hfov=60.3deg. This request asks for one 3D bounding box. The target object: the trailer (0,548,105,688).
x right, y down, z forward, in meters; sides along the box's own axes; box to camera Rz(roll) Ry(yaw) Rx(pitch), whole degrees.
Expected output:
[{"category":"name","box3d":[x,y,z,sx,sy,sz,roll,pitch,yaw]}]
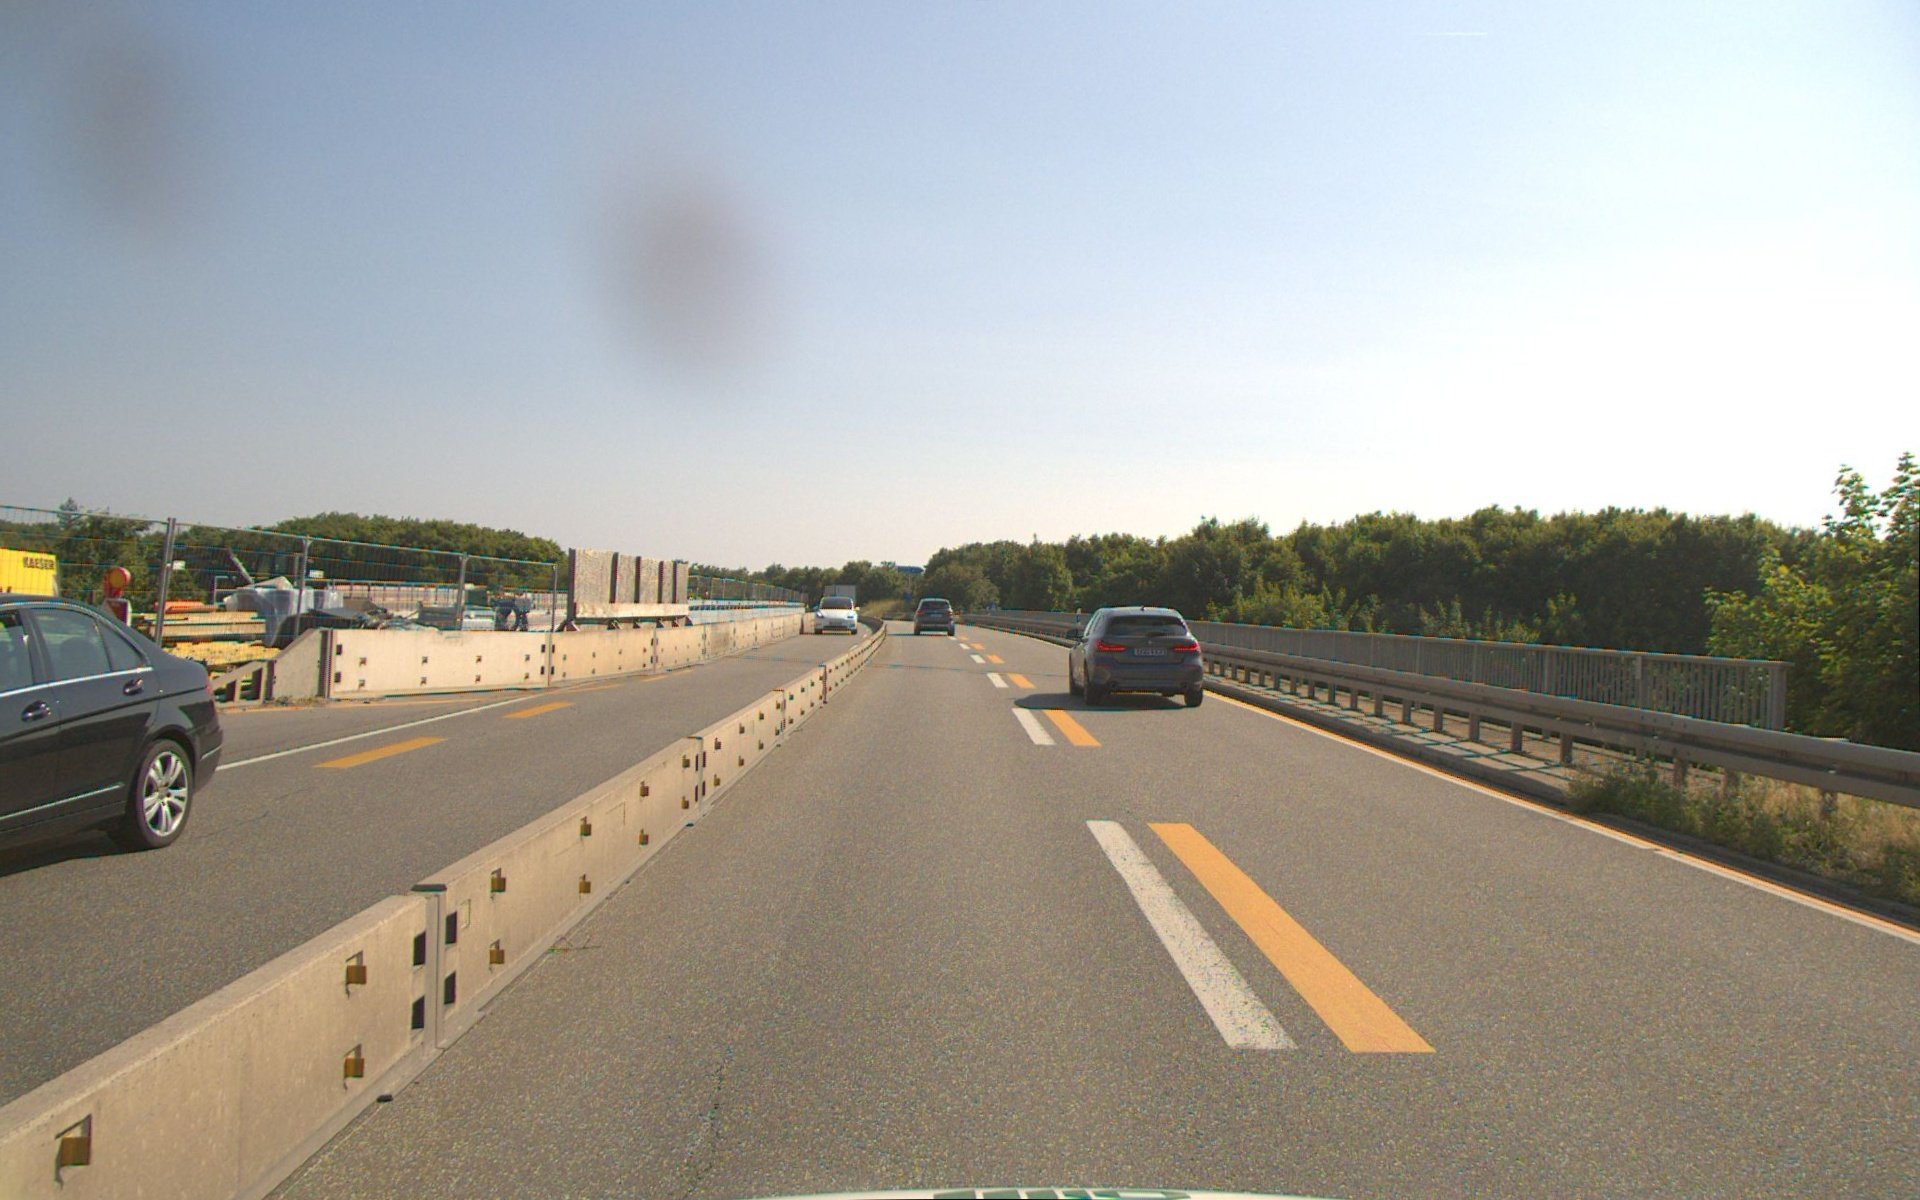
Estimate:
[{"category":"trailer","box3d":[-12.518,0.174,21.051,1.686,1.677,3.528,3,0,-7]}]

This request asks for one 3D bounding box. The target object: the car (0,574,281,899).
[{"category":"car","box3d":[-5.427,0.629,8.328,1.820,1.499,4.686,3,0,3]}]

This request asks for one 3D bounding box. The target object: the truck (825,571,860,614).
[{"category":"truck","box3d":[-14.567,-0.949,203.292,3.688,4.997,14.118,2,0,-6]}]

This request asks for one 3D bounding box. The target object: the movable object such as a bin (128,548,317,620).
[{"category":"movable object such as a bin","box3d":[-23.324,-0.504,52.347,5.280,2.153,2.238,1,0,18]}]

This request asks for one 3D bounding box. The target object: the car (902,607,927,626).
[{"category":"car","box3d":[-4.447,1.600,160.870,1.956,1.717,3.993,2,0,-8]}]

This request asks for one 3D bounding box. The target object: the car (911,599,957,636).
[{"category":"car","box3d":[-1.134,0.767,73.987,1.952,1.594,4.000,1,0,0]}]

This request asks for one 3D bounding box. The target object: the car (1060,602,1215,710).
[{"category":"car","box3d":[2.670,0.811,25.733,1.881,1.520,3.999,0,0,-2]}]

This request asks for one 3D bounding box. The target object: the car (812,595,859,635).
[{"category":"car","box3d":[-5.567,0.666,74.591,1.942,1.680,4.546,2,0,-3]}]
